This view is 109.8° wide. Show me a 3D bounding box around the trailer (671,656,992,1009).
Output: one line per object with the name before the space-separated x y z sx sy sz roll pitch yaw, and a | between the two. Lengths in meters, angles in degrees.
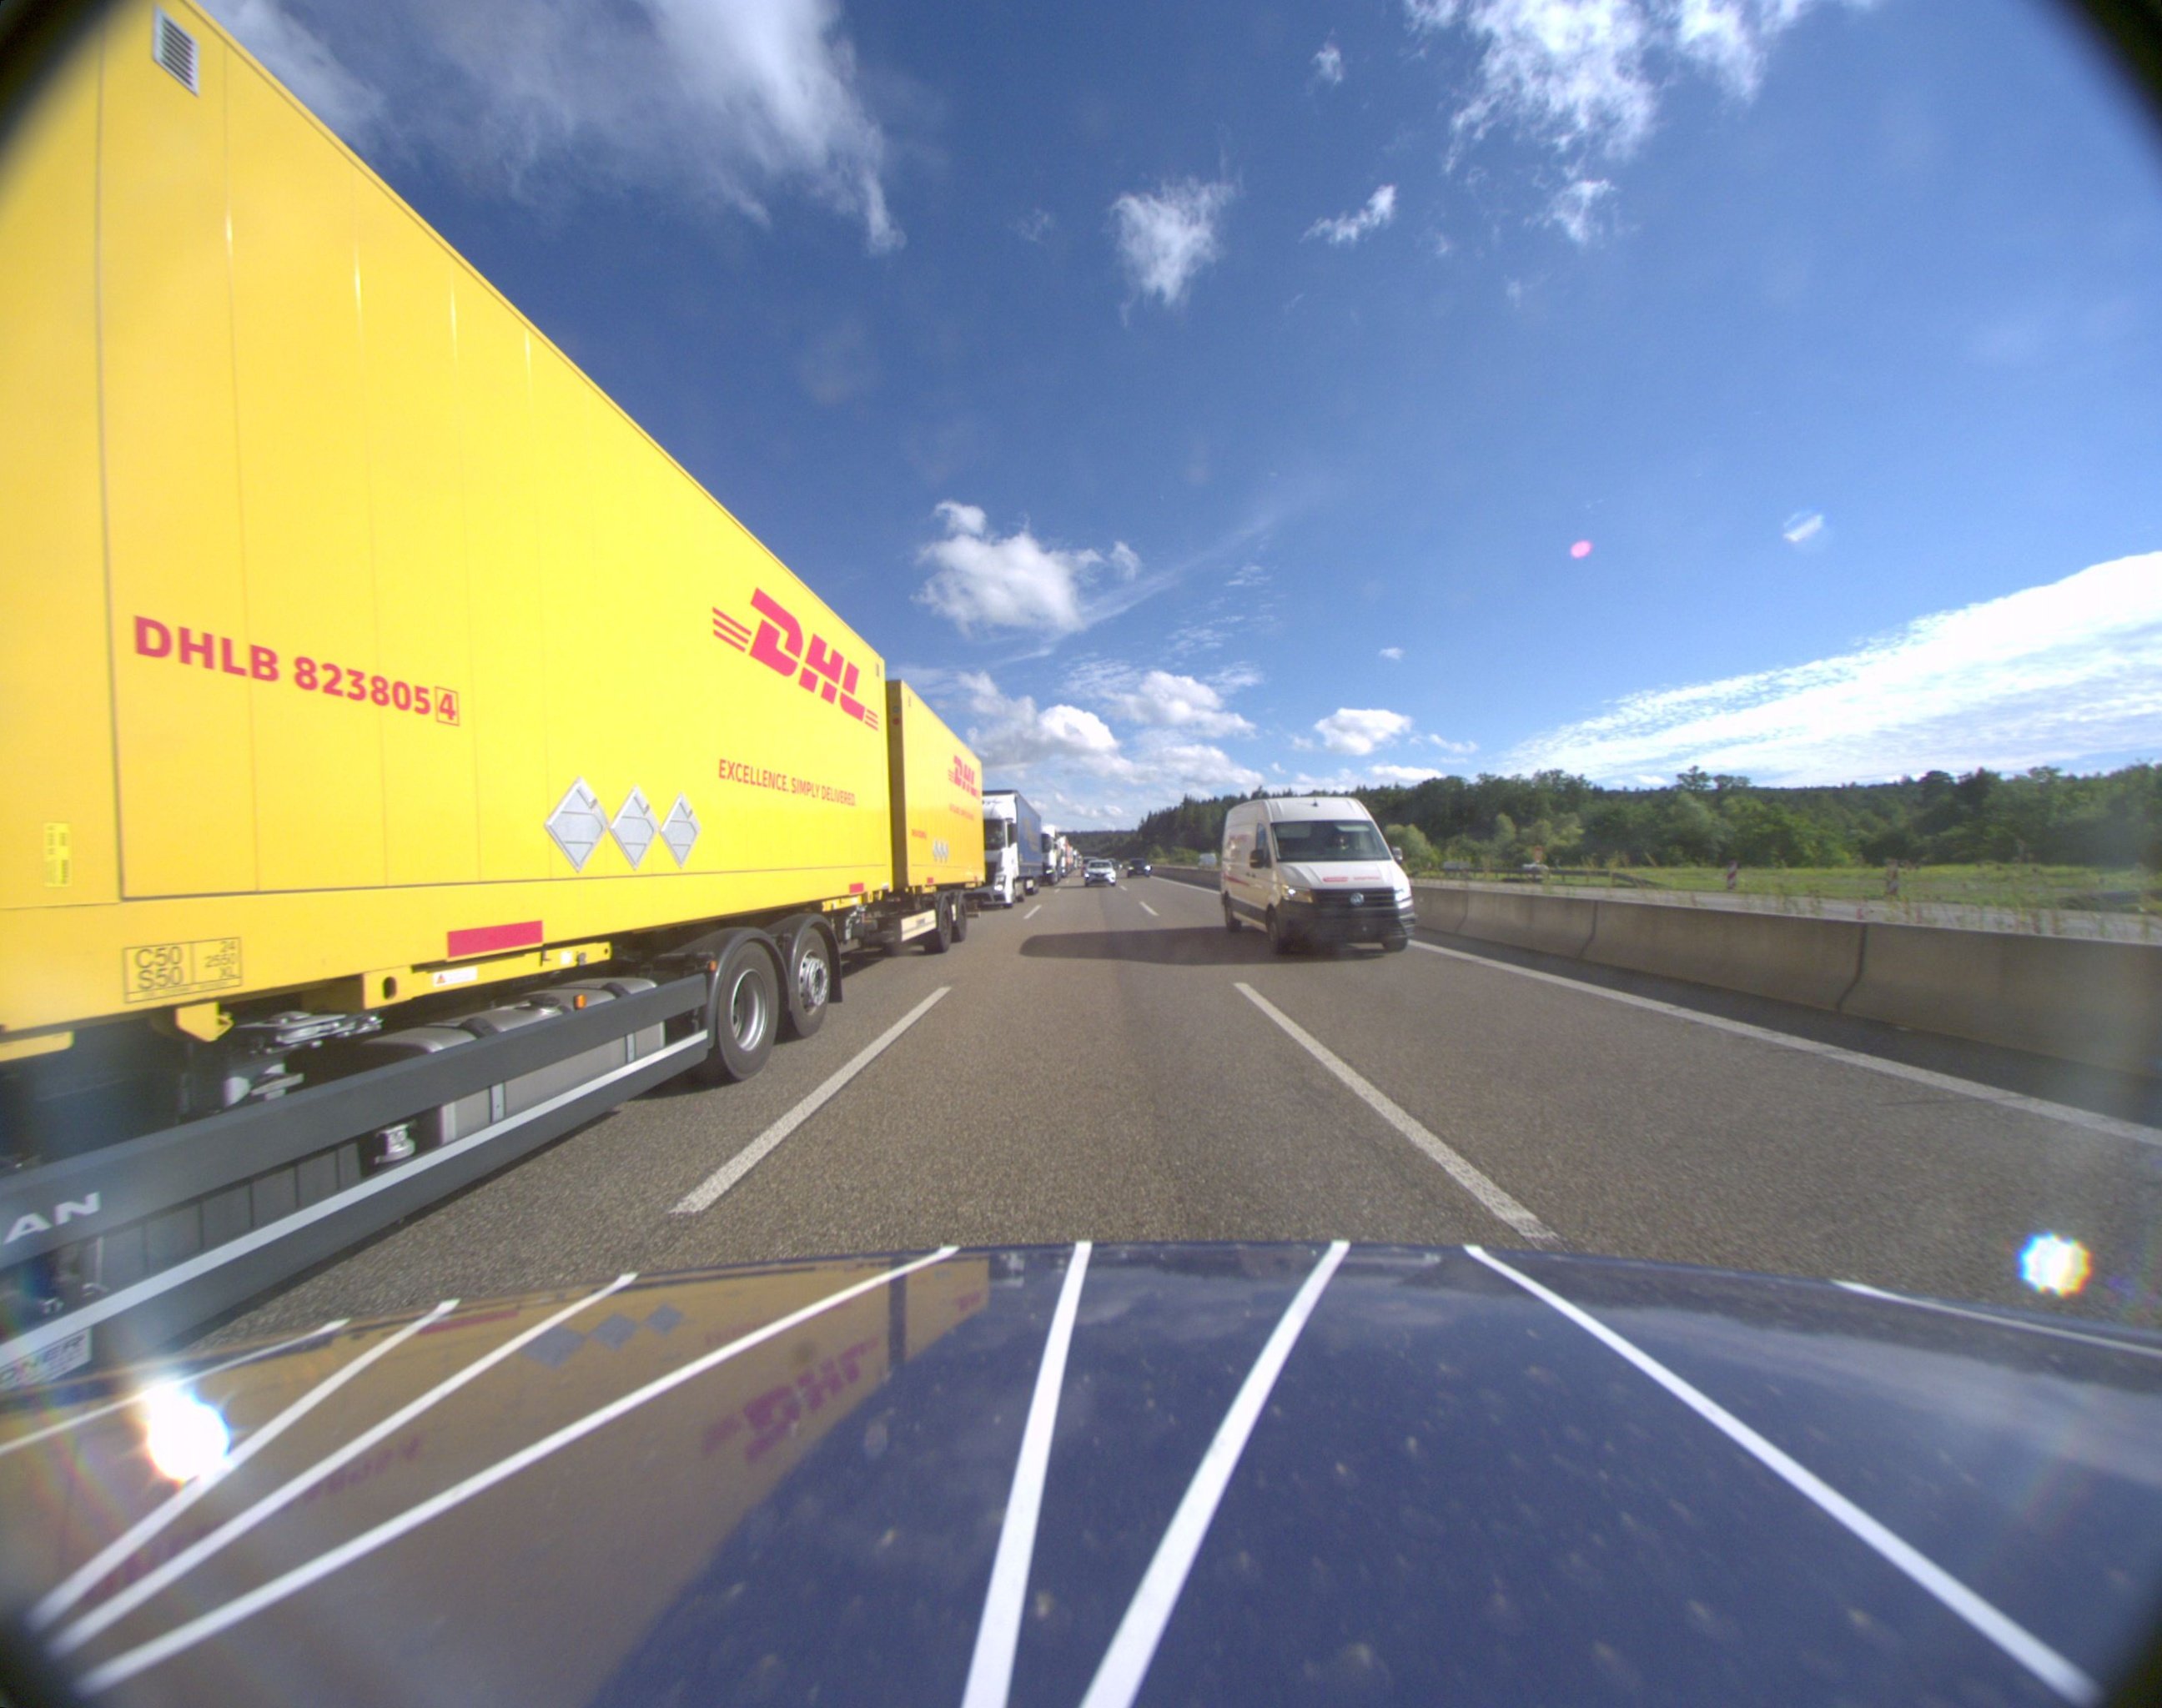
trailer | -3.458 -0.249 13.399 2.418 4.045 8.926 -3 0 1

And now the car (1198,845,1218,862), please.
car | 20.581 -0.098 123.257 2.038 2.563 7.321 -3 0 0

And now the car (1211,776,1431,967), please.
car | 3.848 0.270 13.586 2.020 2.583 6.182 -1 0 1

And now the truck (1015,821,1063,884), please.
truck | -2.752 -0.053 51.494 2.656 3.901 6.943 -3 -1 0

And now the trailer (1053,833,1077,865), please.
trailer | -2.069 -0.646 103.504 2.624 3.977 13.366 -3 0 1

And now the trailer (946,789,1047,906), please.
trailer | -3.333 -0.263 34.180 2.649 4.074 13.979 -3 0 1

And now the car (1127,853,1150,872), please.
car | 5.010 0.719 66.121 1.778 1.533 4.158 1 0 2

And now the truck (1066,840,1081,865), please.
truck | -1.218 -0.259 125.894 1.998 4.025 5.870 -3 1 1

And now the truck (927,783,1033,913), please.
truck | -3.424 -0.212 27.557 2.655 4.066 6.491 -3 1 1

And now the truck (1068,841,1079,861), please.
truck | -1.480 -0.592 157.116 1.998 3.999 7.344 -3 0 1

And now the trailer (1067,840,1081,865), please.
trailer | -1.136 -0.289 130.261 1.998 3.999 7.345 -3 0 1

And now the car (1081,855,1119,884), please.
car | 1.152 0.850 44.901 2.026 1.510 5.299 -3 0 2

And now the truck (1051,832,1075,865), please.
truck | -2.189 -0.674 96.275 2.634 3.959 5.956 -3 0 1

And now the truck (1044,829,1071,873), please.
truck | -2.228 -0.240 73.707 2.371 3.996 6.107 -2 -1 0

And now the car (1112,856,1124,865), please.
car | 5.855 0.994 120.584 1.778 1.451 4.158 1 0 2

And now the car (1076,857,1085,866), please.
car | -0.108 1.848 190.936 2.129 2.030 4.697 1 0 2

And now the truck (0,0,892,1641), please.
truck | -3.576 -0.284 4.050 2.418 4.045 9.664 -3 0 1

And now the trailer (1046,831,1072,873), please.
trailer | -2.219 -0.084 81.007 2.334 3.973 14.300 -1 -1 0

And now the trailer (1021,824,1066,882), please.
trailer | -2.725 0.012 58.260 2.652 3.911 11.176 -3 -1 0
